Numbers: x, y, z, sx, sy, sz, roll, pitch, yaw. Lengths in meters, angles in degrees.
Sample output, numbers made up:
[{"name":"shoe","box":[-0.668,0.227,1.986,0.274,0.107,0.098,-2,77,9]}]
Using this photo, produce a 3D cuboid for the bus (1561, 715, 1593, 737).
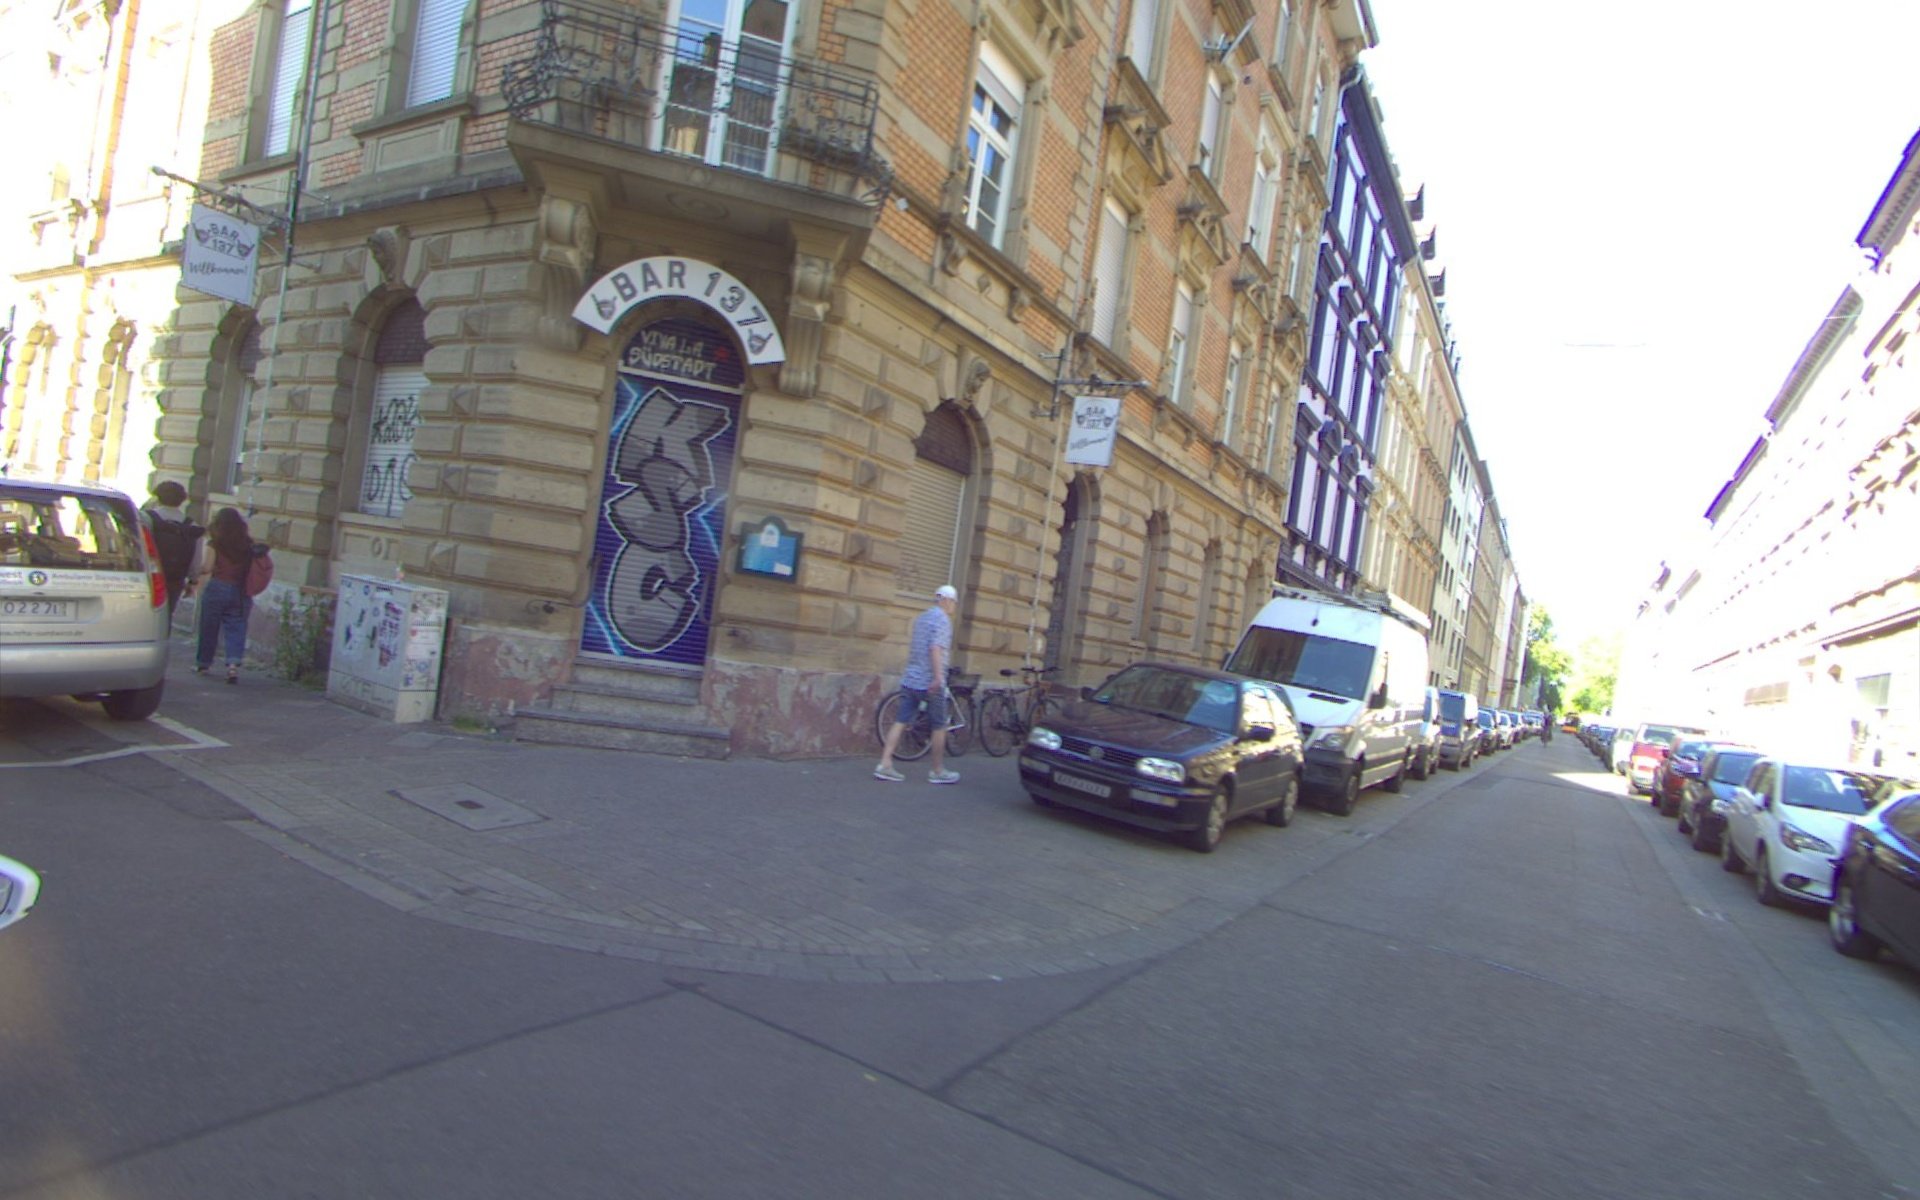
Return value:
[{"name":"bus","box":[95.327,19.438,155.290,2.267,2.670,10.270,7,-2,41]}]

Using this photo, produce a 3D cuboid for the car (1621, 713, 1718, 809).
[{"name":"car","box":[17.910,4.010,25.537,1.512,1.994,4.024,8,-2,32]}]

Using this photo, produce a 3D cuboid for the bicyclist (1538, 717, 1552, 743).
[{"name":"bicyclist","box":[31.996,7.131,55.057,0.509,1.342,0.638,8,-1,30]}]

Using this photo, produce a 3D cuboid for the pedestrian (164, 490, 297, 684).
[{"name":"pedestrian","box":[-6.604,-0.110,9.107,0.722,1.641,0.575,8,1,30]}]

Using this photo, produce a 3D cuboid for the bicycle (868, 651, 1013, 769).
[{"name":"bicycle","box":[-0.162,1.145,10.520,0.525,1.066,1.779,8,-1,31]}]

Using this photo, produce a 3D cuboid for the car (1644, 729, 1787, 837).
[{"name":"car","box":[14.778,3.501,19.878,1.706,1.600,3.995,8,-2,32]}]

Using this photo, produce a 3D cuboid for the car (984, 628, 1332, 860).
[{"name":"car","box":[2.069,1.280,9.427,1.705,1.468,3.988,8,-2,33]}]

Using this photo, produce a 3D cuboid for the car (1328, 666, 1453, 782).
[{"name":"car","box":[8.810,2.495,20.372,1.691,1.819,4.409,9,-2,29]}]

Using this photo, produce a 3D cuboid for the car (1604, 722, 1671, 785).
[{"name":"car","box":[22.916,5.139,34.125,1.512,1.770,4.052,8,-2,32]}]

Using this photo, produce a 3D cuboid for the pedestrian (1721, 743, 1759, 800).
[{"name":"pedestrian","box":[24.062,5.276,31.050,0.699,1.585,0.722,7,-1,32]}]

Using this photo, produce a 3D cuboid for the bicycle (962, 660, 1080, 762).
[{"name":"bicycle","box":[0.770,1.335,12.110,0.525,1.066,1.779,8,-1,31]}]

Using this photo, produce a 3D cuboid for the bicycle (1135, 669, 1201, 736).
[{"name":"bicycle","box":[3.713,1.821,17.833,0.525,1.066,1.780,8,-1,29]}]

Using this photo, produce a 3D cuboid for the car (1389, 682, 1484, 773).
[{"name":"car","box":[11.884,3.123,24.936,1.573,1.854,4.101,7,-2,31]}]

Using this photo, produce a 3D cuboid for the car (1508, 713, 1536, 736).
[{"name":"car","box":[43.073,9.520,77.041,1.574,1.442,3.740,7,-2,32]}]

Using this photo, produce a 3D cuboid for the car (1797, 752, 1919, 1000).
[{"name":"car","box":[7.168,1.928,6.401,1.738,1.487,4.254,5,-3,26]}]

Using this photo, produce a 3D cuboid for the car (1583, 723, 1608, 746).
[{"name":"car","box":[49.149,10.394,77.831,1.477,1.504,3.522,6,-3,32]}]

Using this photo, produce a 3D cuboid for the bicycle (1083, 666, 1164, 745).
[{"name":"bicycle","box":[2.524,1.608,15.366,0.525,1.066,1.780,8,-1,29]}]

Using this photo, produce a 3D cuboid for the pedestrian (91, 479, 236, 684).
[{"name":"pedestrian","box":[-6.762,-0.147,8.545,0.715,1.623,0.592,8,1,30]}]

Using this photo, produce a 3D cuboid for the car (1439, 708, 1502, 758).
[{"name":"car","box":[17.885,4.600,35.173,1.574,1.405,3.995,7,-2,31]}]

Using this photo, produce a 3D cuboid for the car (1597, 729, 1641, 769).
[{"name":"car","box":[30.586,6.888,46.751,1.477,1.504,3.522,6,-3,32]}]

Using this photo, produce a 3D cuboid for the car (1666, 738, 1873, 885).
[{"name":"car","box":[11.651,2.947,14.759,1.706,1.486,3.995,8,-2,32]}]

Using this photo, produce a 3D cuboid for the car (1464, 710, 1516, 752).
[{"name":"car","box":[22.497,5.535,42.626,1.574,1.442,3.865,7,-2,32]}]

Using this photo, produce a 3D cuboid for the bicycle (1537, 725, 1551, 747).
[{"name":"bicycle","box":[31.916,7.419,54.986,0.524,1.066,1.780,8,-2,30]}]

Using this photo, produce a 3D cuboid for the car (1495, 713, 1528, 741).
[{"name":"car","box":[35.200,8.094,64.190,1.574,1.442,3.740,7,-2,32]}]

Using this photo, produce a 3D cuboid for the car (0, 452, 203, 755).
[{"name":"car","box":[-7.124,-0.182,6.804,3.871,1.734,1.707,8,-1,30]}]

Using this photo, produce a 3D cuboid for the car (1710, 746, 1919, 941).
[{"name":"car","box":[9.319,2.462,10.781,1.564,1.455,3.994,4,-3,31]}]

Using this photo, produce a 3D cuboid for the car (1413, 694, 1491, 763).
[{"name":"car","box":[15.179,3.909,30.932,1.671,1.720,3.995,7,-2,31]}]

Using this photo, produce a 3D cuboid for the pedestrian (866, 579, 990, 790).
[{"name":"pedestrian","box":[-0.286,0.746,8.889,0.658,1.754,0.569,8,1,-38]}]

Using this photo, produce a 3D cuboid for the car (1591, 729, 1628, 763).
[{"name":"car","box":[34.904,7.819,54.112,1.477,1.504,3.522,6,-3,32]}]

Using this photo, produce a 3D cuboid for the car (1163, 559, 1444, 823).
[{"name":"car","box":[5.288,1.352,14.526,2.032,2.681,6.823,10,-1,32]}]

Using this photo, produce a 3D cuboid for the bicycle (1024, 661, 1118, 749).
[{"name":"bicycle","box":[1.554,1.446,13.827,0.525,1.066,1.780,8,-1,29]}]

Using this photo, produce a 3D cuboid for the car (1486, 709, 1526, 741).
[{"name":"car","box":[30.078,6.881,55.377,1.574,1.442,3.740,7,-2,32]}]
